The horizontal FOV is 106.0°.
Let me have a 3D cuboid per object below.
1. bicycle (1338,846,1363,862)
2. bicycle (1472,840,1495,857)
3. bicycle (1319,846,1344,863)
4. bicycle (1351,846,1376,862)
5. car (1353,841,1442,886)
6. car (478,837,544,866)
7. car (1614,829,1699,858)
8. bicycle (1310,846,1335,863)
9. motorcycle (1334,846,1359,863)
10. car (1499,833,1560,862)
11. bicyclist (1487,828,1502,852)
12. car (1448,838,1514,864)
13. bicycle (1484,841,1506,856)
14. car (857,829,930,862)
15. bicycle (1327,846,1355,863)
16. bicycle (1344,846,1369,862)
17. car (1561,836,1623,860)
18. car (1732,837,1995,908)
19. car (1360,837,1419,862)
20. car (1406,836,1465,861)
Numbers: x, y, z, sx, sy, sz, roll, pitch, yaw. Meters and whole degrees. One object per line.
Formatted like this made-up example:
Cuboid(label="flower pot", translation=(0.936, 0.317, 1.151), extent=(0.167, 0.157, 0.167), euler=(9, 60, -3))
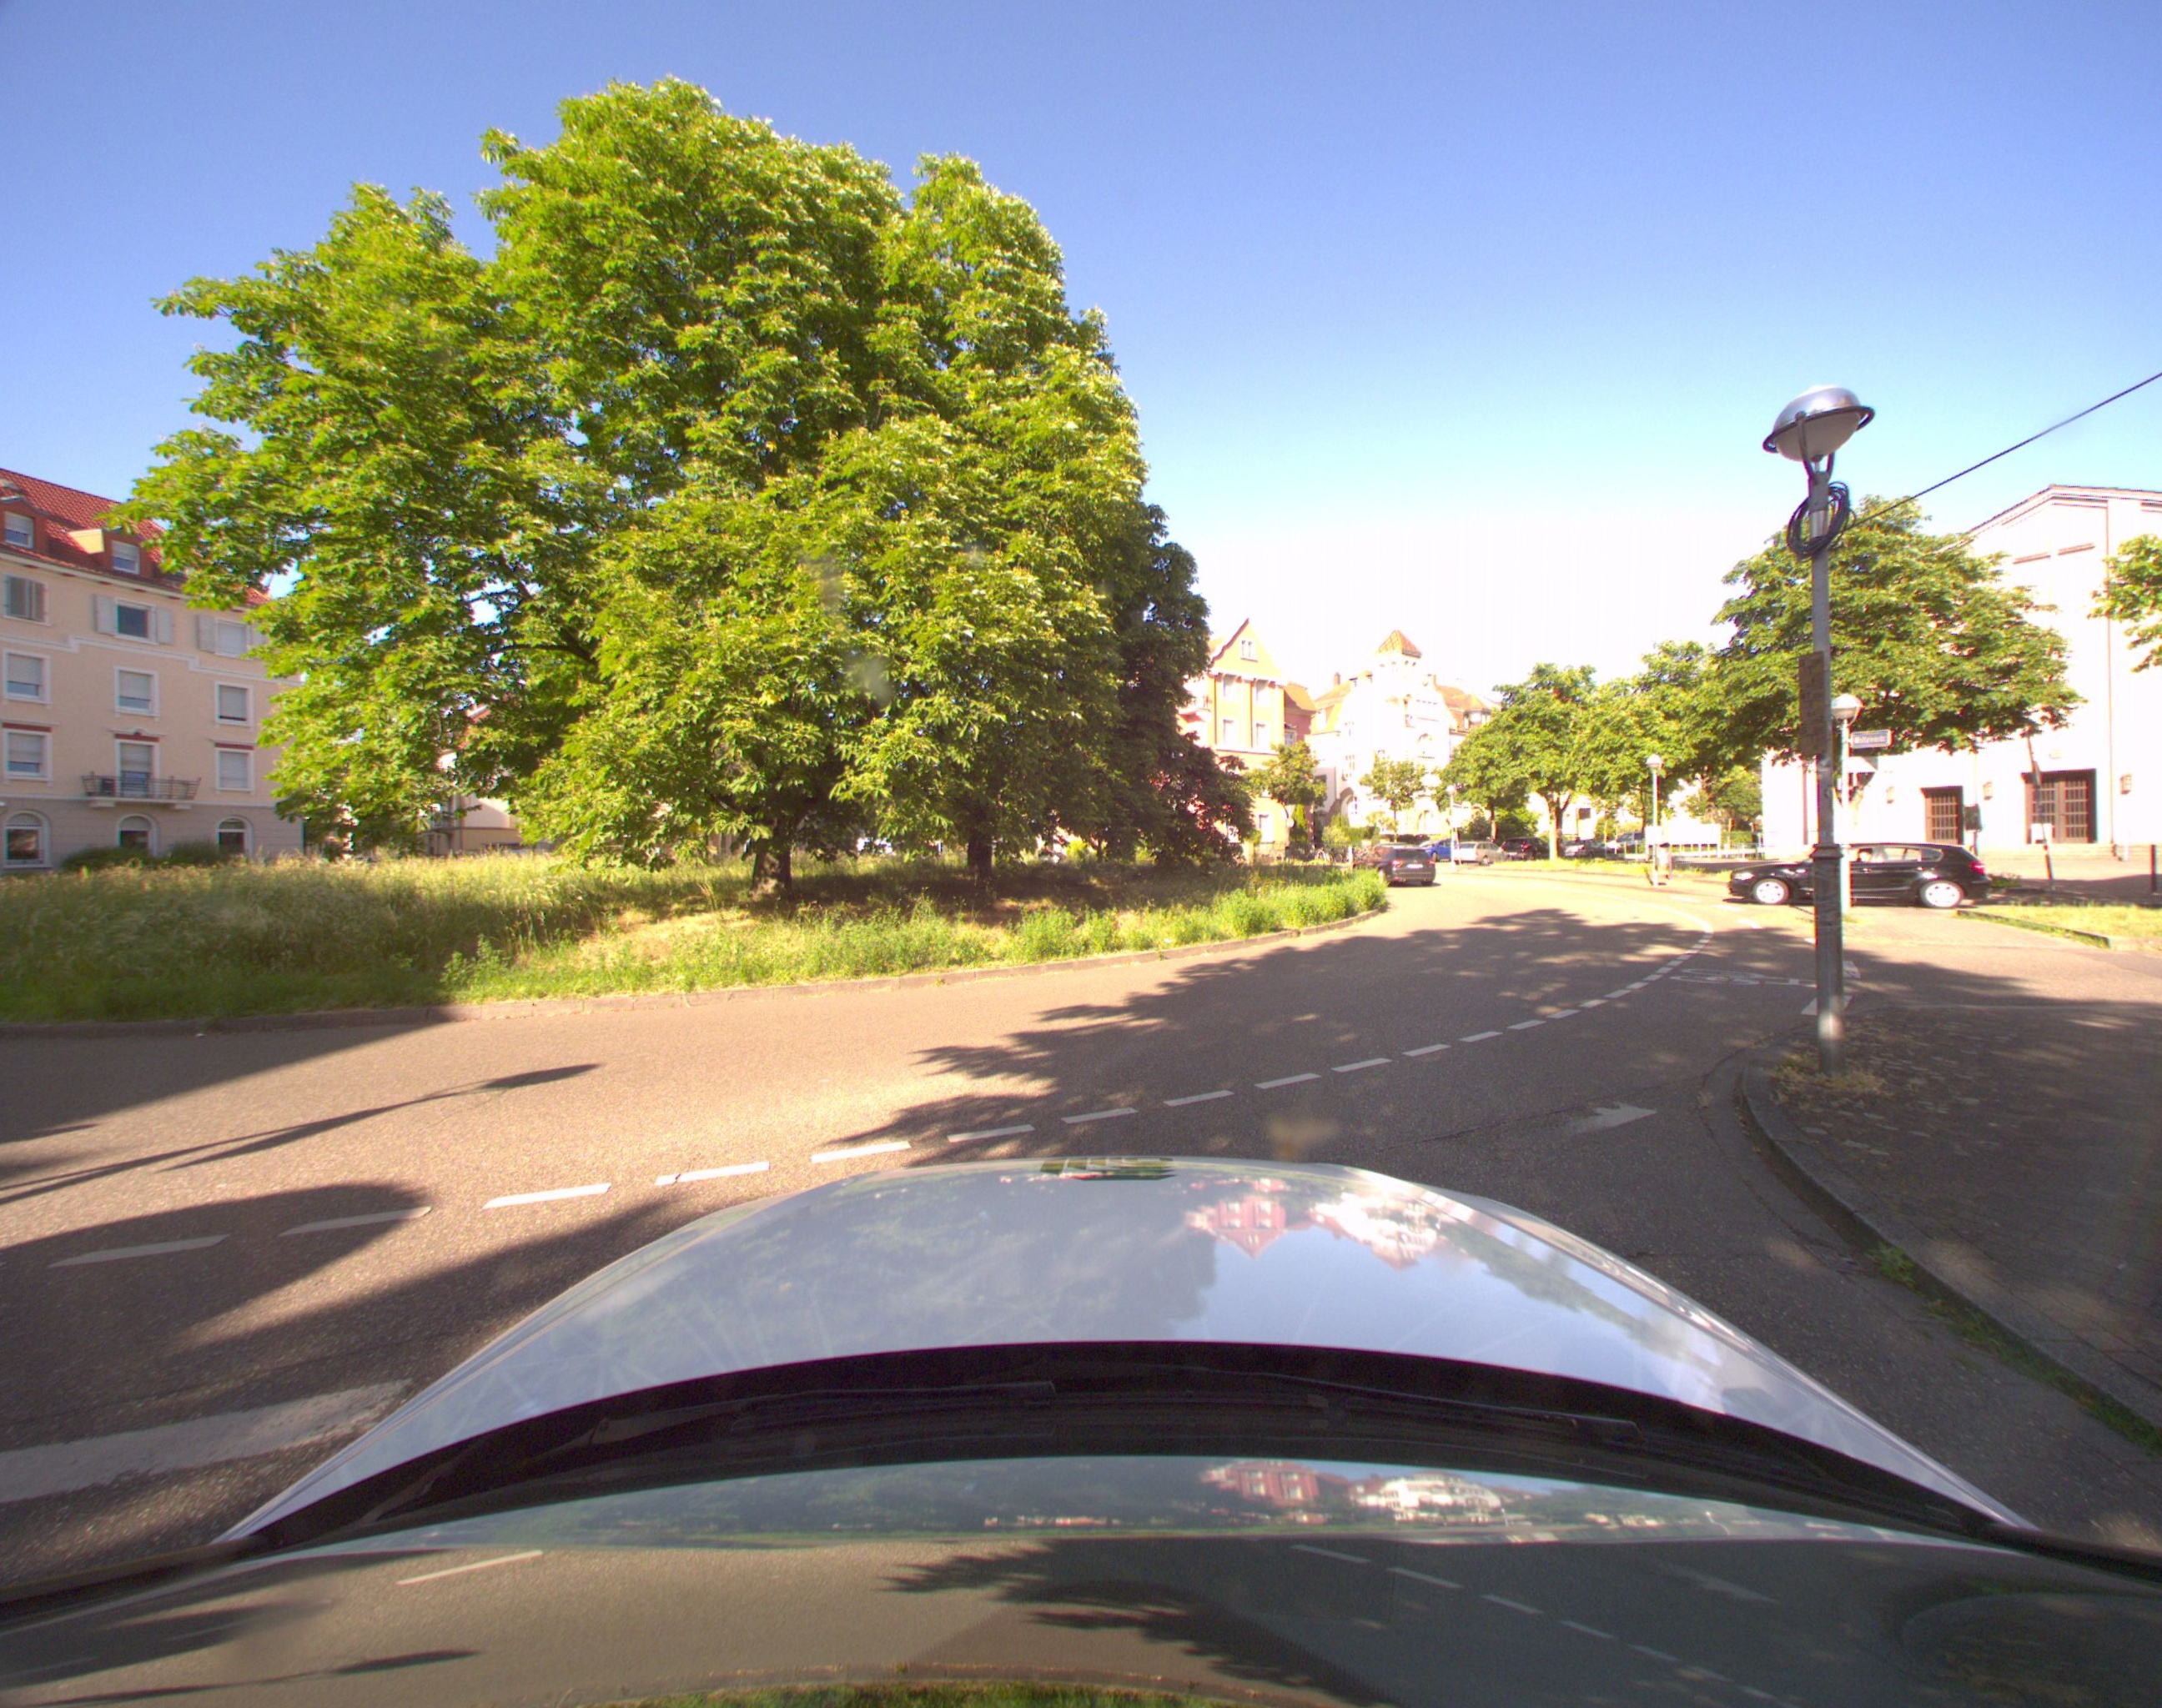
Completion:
Cuboid(label="bicycle", translation=(19.139, 0.004, 57.855), extent=(0.503, 1.107, 1.706), euler=(-2, 2, -41))
Cuboid(label="bicycle", translation=(28.509, -0.390, 57.623), extent=(1.871, 1.107, 0.589), euler=(-1, 0, -34))
Cuboid(label="bicycle", translation=(17.400, 0.041, 56.533), extent=(0.548, 1.115, 1.709), euler=(-1, 2, -34))
Cuboid(label="bicycle", translation=(20.422, -0.033, 58.807), extent=(0.518, 1.107, 1.707), euler=(-1, 2, -38))
Cuboid(label="car", translation=(11.566, 0.315, 30.049), extent=(1.816, 1.532, 4.002), euler=(-1, 0, 2))
Cuboid(label="car", translation=(-39.381, -0.159, 56.266), extent=(4.502, 1.909, 2.155), euler=(-1, 0, 33))
Cuboid(label="car", translation=(41.413, -0.754, 58.711), extent=(1.819, 2.001, 4.725), euler=(-1, 1, -39))
Cuboid(label="bicycle", translation=(16.593, 0.042, 56.008), extent=(0.548, 1.115, 1.709), euler=(-1, 2, -34))
Cuboid(label="motorcycle", translation=(18.729, 0.023, 57.452), extent=(0.503, 1.107, 1.706), euler=(-2, 2, -41))
Cuboid(label="car", translation=(27.563, -0.415, 50.011), extent=(4.360, 1.728, 1.789), euler=(-1, 1, -40))
Cuboid(label="bicyclist", translation=(30.444, -1.006, 59.941), extent=(0.726, 1.714, 0.639), euler=(-1, -1, -35))
Cuboid(label="car", translation=(23.289, -0.197, 47.356), extent=(4.360, 1.415, 1.789), euler=(-1, 1, -40))
Cuboid(label="bicycle", translation=(30.470, -0.394, 59.938), extent=(1.724, 1.107, 0.639), euler=(-1, -1, -35))
Cuboid(label="car", translation=(-15.628, -0.694, 67.721), extent=(6.294, 2.600, 2.117), euler=(0, 0, 34))
Cuboid(label="bicycle", translation=(18.162, 0.024, 57.006), extent=(1.806, 1.107, 0.504), euler=(1, 2, 40))
Cuboid(label="bicycle", translation=(19.660, -0.009, 58.169), extent=(0.503, 1.107, 1.707), euler=(-1, 2, -38))
Cuboid(label="car", translation=(34.214, -0.422, 54.470), extent=(4.353, 1.473, 1.792), euler=(-1, 1, -32))
Cuboid(label="car", translation=(17.036, 0.371, 18.053), extent=(3.948, 1.419, 1.883), euler=(-1, 1, 35))
Cuboid(label="car", translation=(20.962, -0.317, 55.303), extent=(4.361, 1.483, 1.788), euler=(-2, -2, -40))
Cuboid(label="car", translation=(25.341, -0.403, 58.117), extent=(4.418, 1.562, 1.790), euler=(-2, -2, -35))
